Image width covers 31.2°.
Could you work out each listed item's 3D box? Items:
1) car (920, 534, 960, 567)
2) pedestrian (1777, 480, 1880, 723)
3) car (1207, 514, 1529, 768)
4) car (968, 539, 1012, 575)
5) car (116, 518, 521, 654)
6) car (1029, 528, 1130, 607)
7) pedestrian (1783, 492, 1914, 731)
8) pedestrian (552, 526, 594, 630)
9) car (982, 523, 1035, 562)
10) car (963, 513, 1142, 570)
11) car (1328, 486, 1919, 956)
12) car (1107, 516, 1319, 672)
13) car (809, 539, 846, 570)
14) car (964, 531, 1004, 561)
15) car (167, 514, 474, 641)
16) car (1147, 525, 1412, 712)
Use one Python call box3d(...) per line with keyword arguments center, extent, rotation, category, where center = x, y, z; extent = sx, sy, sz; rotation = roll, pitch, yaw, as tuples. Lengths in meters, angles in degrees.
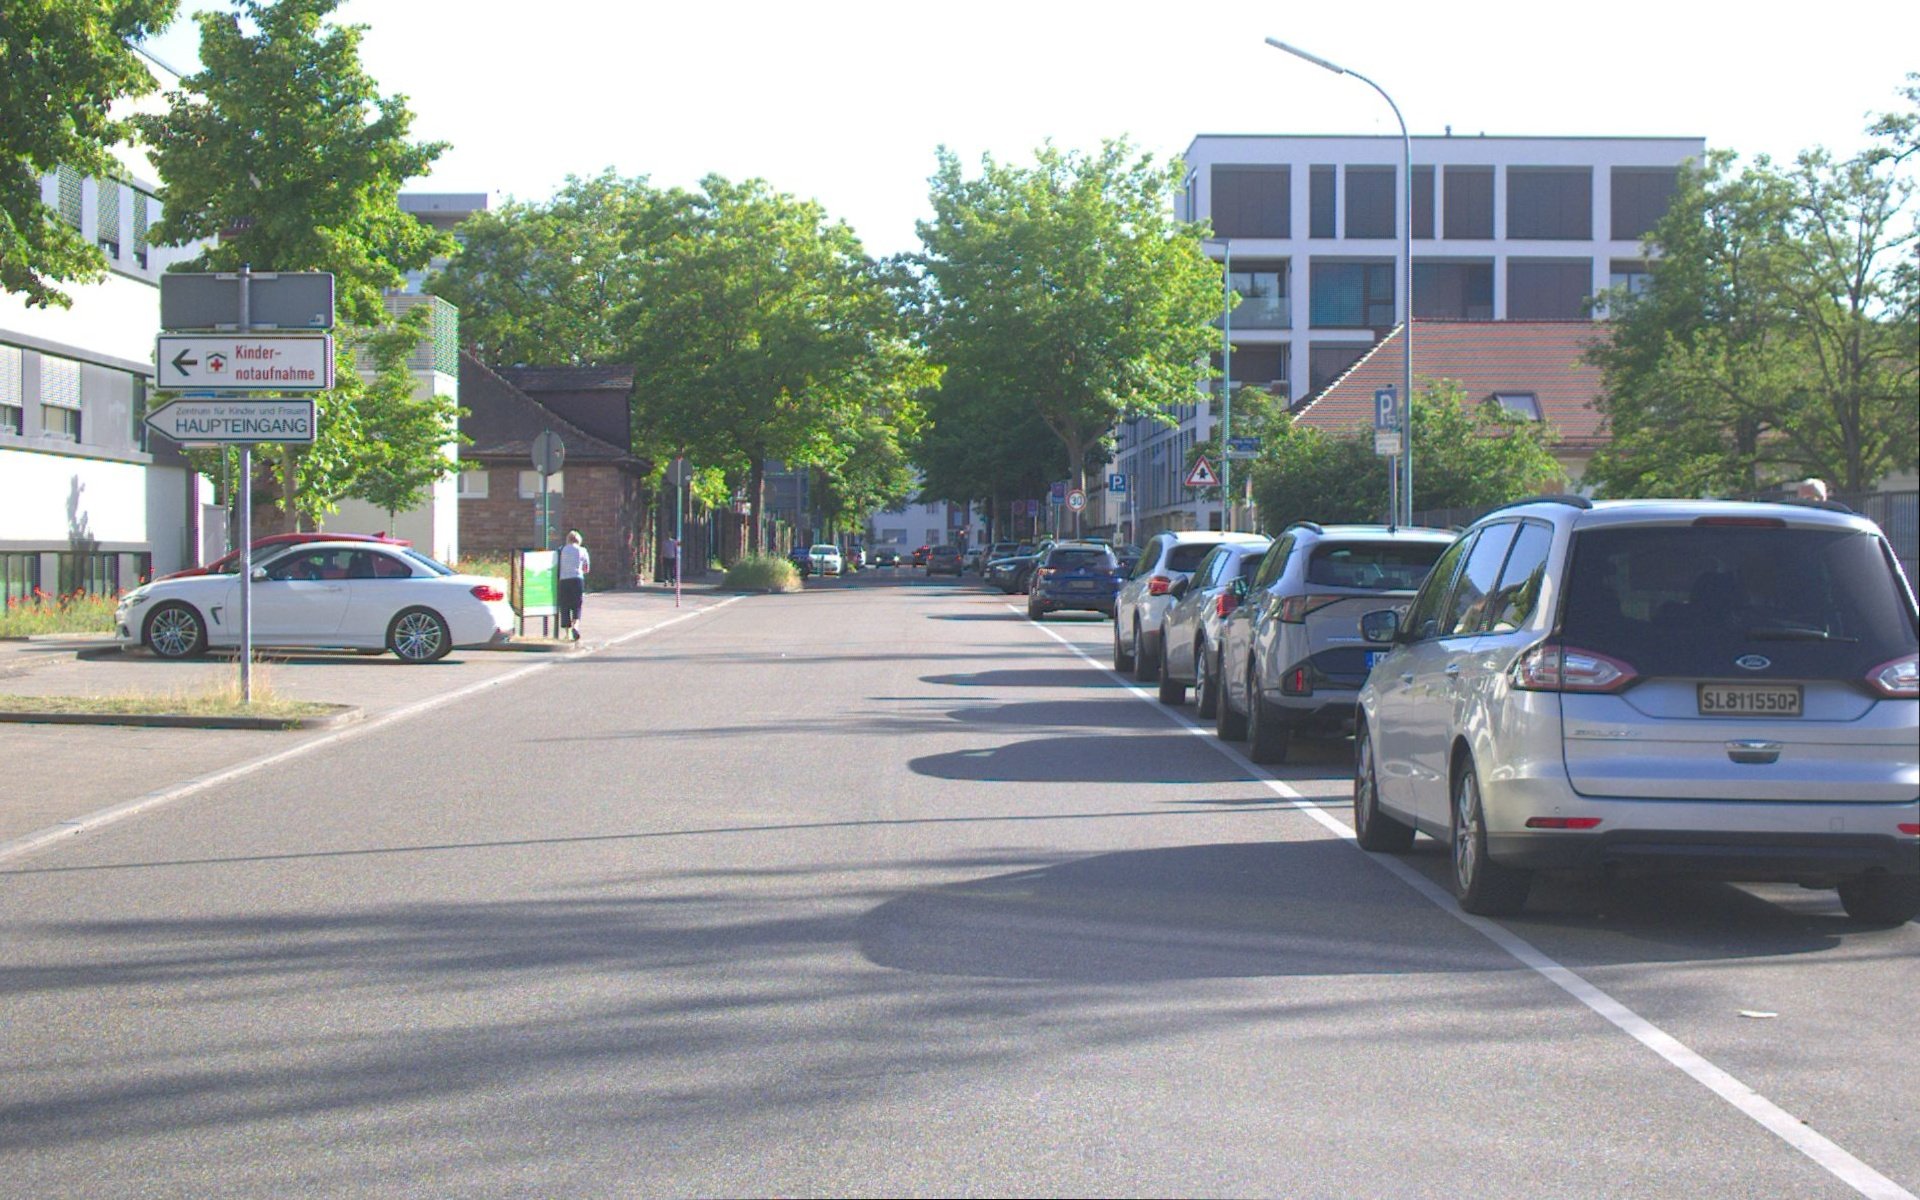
box3d(center=(-0.972, -2.350, 163.239), extent=(1.767, 1.543, 4.066), rotation=(0, 1, -2), category="car")
box3d(center=(6.225, 0.009, 24.667), extent=(0.521, 1.702, 0.522), rotation=(2, 0, -3), category="pedestrian")
box3d(center=(2.810, 0.215, 24.547), extent=(1.700, 1.600, 4.353), rotation=(2, 1, 0), category="car")
box3d(center=(1.334, -1.969, 155.882), extent=(1.950, 1.573, 3.836), rotation=(1, 1, 0), category="car")
box3d(center=(-7.510, -0.176, 40.577), extent=(4.511, 1.362, 1.700), rotation=(3, 1, -5), category="car")
box3d(center=(2.251, -0.650, 65.782), extent=(1.818, 1.448, 4.214), rotation=(0, 1, 0), category="car")
box3d(center=(6.104, 0.076, 23.642), extent=(0.681, 1.606, 0.541), rotation=(2, 0, -3), category="pedestrian")
box3d(center=(-5.685, -0.328, 50.527), extent=(0.538, 1.518, 0.607), rotation=(0, 1, 1), category="pedestrian")
box3d(center=(1.762, -2.126, 126.896), extent=(1.767, 1.435, 4.000), rotation=(0, 1, -2), category="car")
box3d(center=(2.425, -1.530, 89.457), extent=(4.523, 1.437, 1.767), rotation=(-1, 1, -36), category="car")
box3d(center=(2.887, 0.405, 15.267), extent=(1.809, 1.716, 4.705), rotation=(2, 1, -2), category="car")
box3d(center=(2.742, -0.112, 38.120), extent=(1.813, 1.583, 4.263), rotation=(2, 1, -2), category="car")
box3d(center=(-6.430, -2.233, 166.860), extent=(1.767, 1.482, 4.000), rotation=(0, 1, -2), category="car")
box3d(center=(1.201, -2.686, 171.858), extent=(1.993, 1.460, 3.836), rotation=(1, 1, 0), category="car")
box3d(center=(-8.057, -0.294, 43.525), extent=(3.634, 1.464, 1.614), rotation=(2, 2, -4), category="car")
box3d(center=(2.750, 0.113, 30.406), extent=(1.700, 1.482, 3.981), rotation=(2, 1, -3), category="car")
